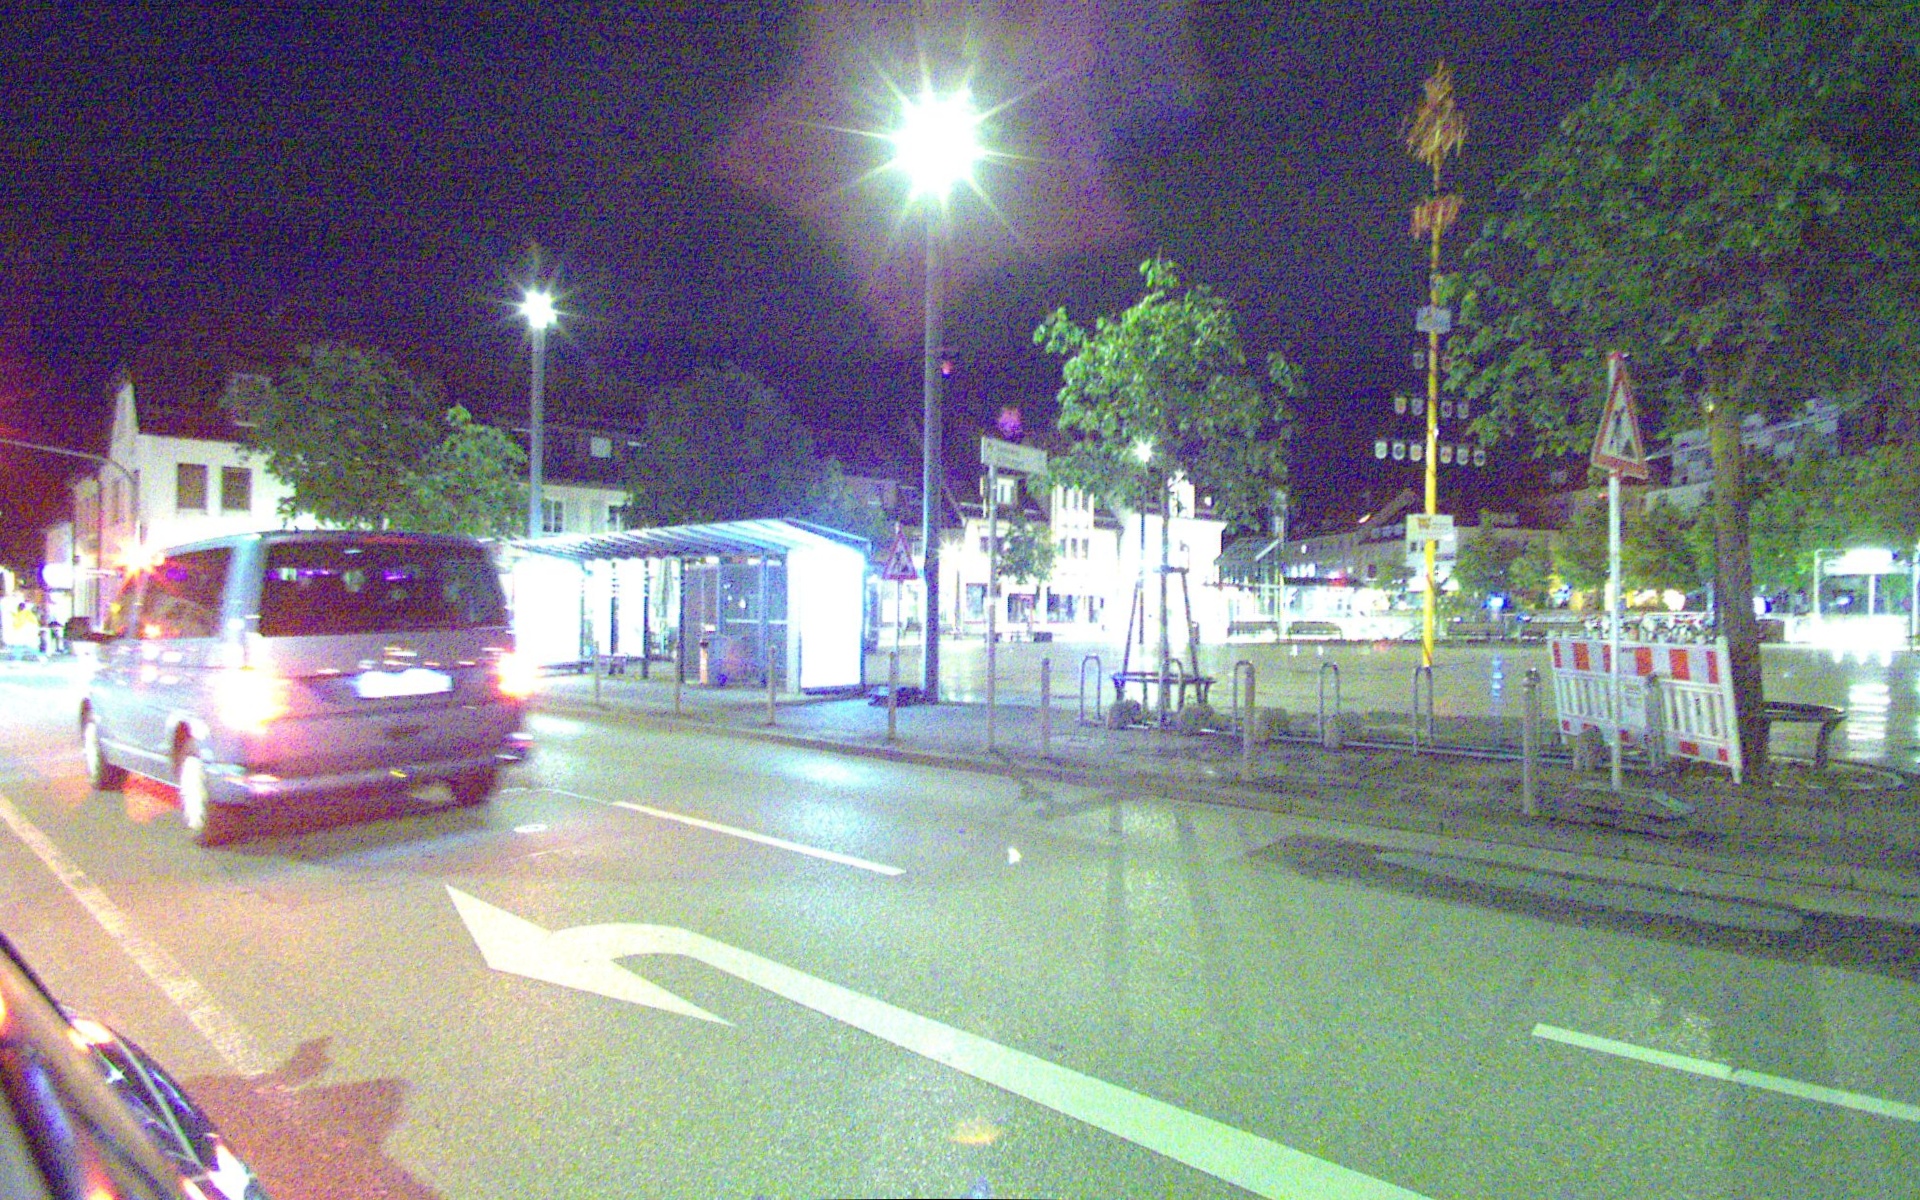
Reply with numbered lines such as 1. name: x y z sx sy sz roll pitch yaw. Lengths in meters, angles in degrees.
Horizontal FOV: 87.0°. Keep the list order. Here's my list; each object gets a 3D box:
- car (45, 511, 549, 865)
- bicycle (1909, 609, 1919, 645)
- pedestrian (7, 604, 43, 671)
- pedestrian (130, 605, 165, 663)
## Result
1. car: -5.294 0.507 7.757 4.909 1.886 1.946 -1 -1 41
2. bicycle: 26.409 0.724 26.975 1.525 0.965 0.476 -1 0 25
3. pedestrian: -24.102 0.952 26.095 0.531 1.694 0.649 -1 0 -27
4. pedestrian: -23.495 0.972 29.268 0.573 1.640 0.649 -1 0 -18
